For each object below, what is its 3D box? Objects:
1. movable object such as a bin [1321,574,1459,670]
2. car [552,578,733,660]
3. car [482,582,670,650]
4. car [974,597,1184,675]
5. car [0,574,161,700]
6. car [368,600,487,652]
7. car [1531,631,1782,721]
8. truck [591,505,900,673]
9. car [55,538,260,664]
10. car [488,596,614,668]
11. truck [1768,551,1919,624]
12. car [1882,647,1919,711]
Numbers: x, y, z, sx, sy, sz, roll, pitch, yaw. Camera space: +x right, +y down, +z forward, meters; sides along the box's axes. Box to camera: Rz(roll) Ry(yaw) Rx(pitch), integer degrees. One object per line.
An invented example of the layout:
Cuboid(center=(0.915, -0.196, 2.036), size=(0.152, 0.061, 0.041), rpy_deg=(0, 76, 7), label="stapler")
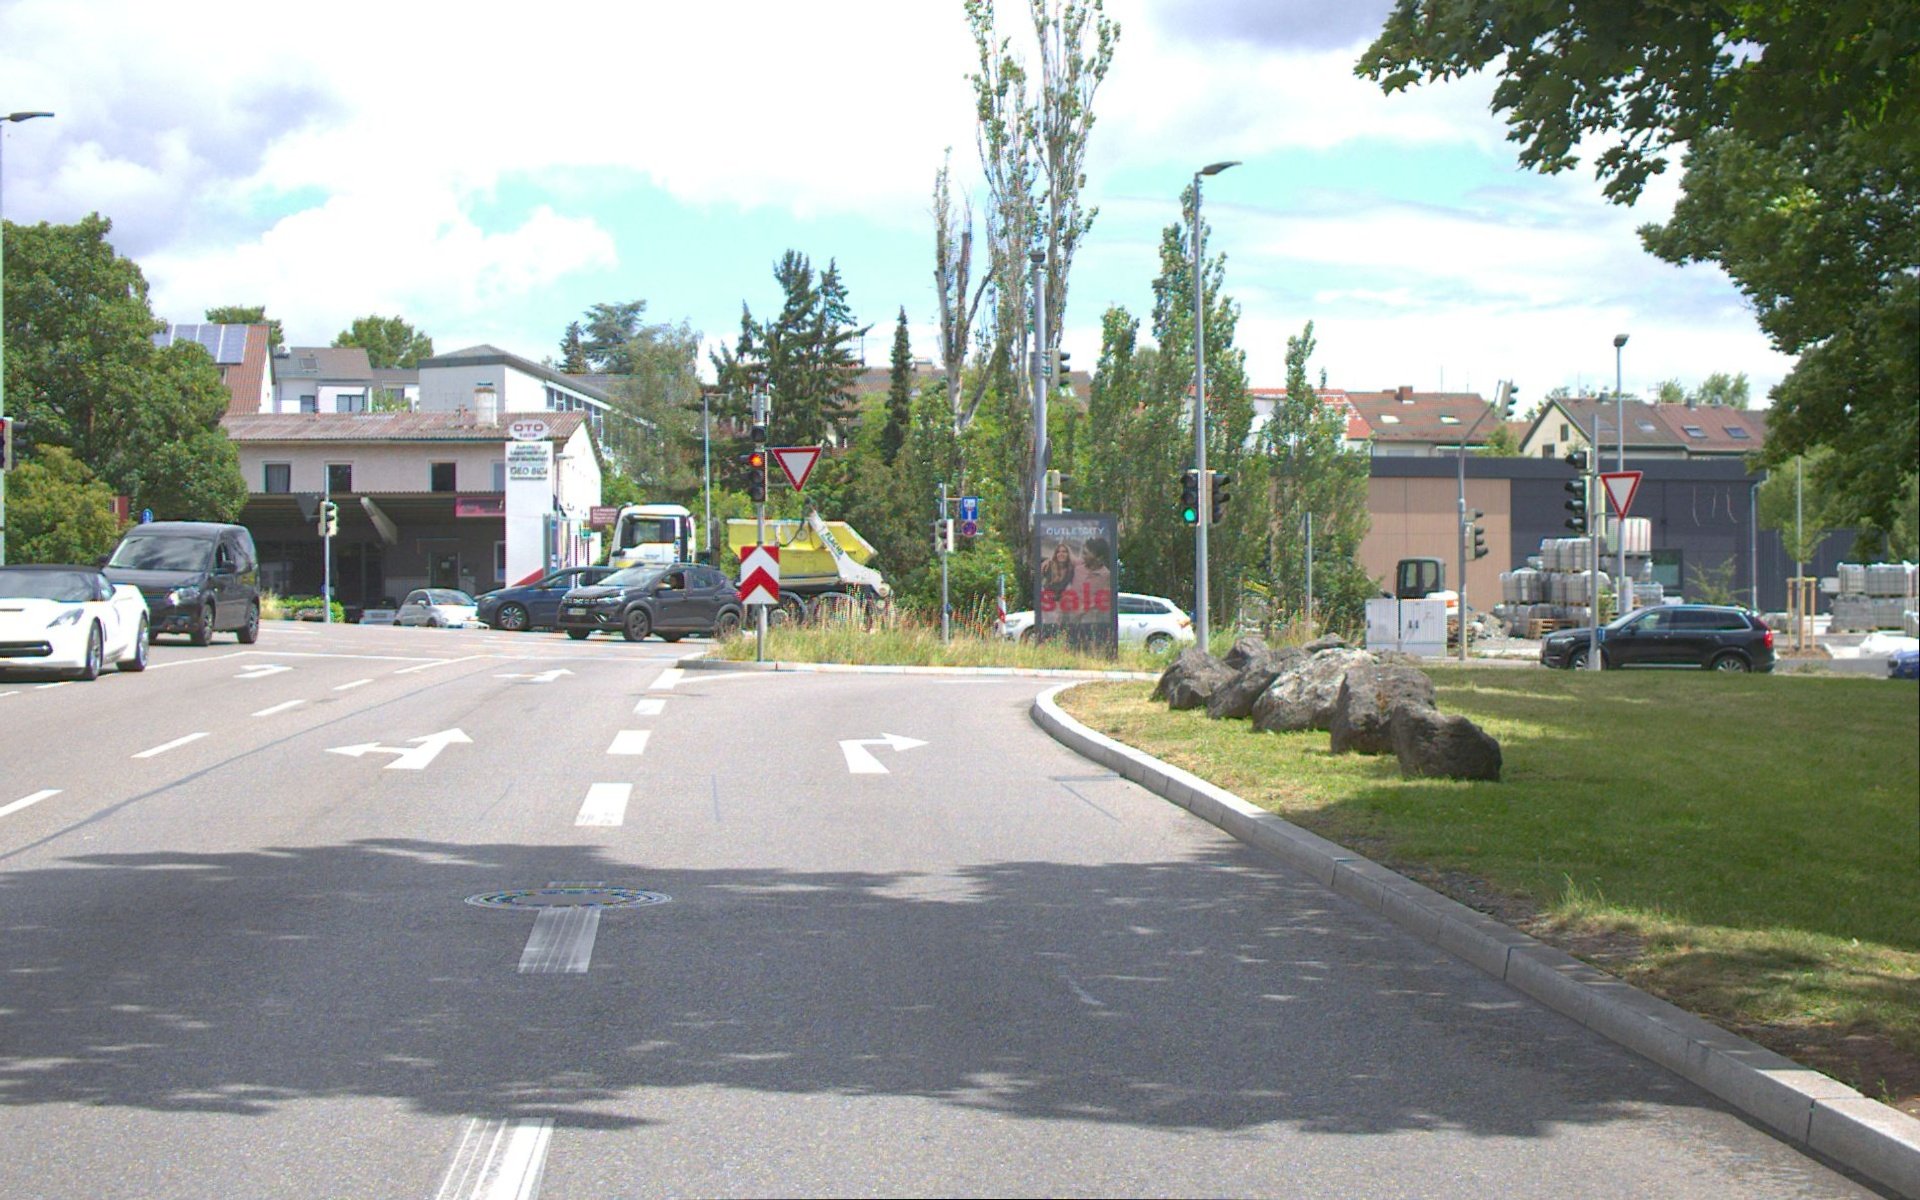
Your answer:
Cuboid(center=(12.004, 0.629, 95.930), size=(3.406, 2.529, 2.150), rpy_deg=(2, -1, 19), label="movable object such as a bin")
Cuboid(center=(-6.223, 0.359, 67.858), size=(1.787, 1.572, 4.159), rpy_deg=(0, 0, 23), label="car")
Cuboid(center=(-8.579, 0.360, 77.003), size=(3.987, 1.396, 1.697), rpy_deg=(1, -1, 0), label="car")
Cuboid(center=(2.515, 0.760, 73.352), size=(4.364, 1.464, 1.622), rpy_deg=(3, 0, 1), label="car")
Cuboid(center=(-10.241, 0.405, 38.093), size=(1.904, 1.287, 4.610), rpy_deg=(-2, 0, -3), label="car")
Cuboid(center=(-15.001, 0.716, 96.755), size=(1.691, 1.396, 3.999), rpy_deg=(2, -1, -35), label="car")
Cuboid(center=(14.841, 1.606, 73.427), size=(4.966, 1.684, 1.910), rpy_deg=(2, 0, 4), label="car")
Cuboid(center=(-4.969, -0.229, 80.765), size=(6.944, 3.567, 2.847), rpy_deg=(-3, -1, 0), label="truck")
Cuboid(center=(-11.822, 0.024, 50.959), size=(1.785, 1.773, 4.811), rpy_deg=(0, 0, 2), label="car")
Cuboid(center=(-11.579, 0.907, 97.182), size=(1.899, 1.853, 3.809), rpy_deg=(-2, -1, -35), label="car")
Cuboid(center=(29.816, -0.435, 112.088), size=(6.563, 2.138, 1.998), rpy_deg=(-3, -1, 16), label="truck")
Cuboid(center=(22.778, 1.795, 76.674), size=(3.987, 1.396, 1.696), rpy_deg=(1, -1, 2), label="car")
